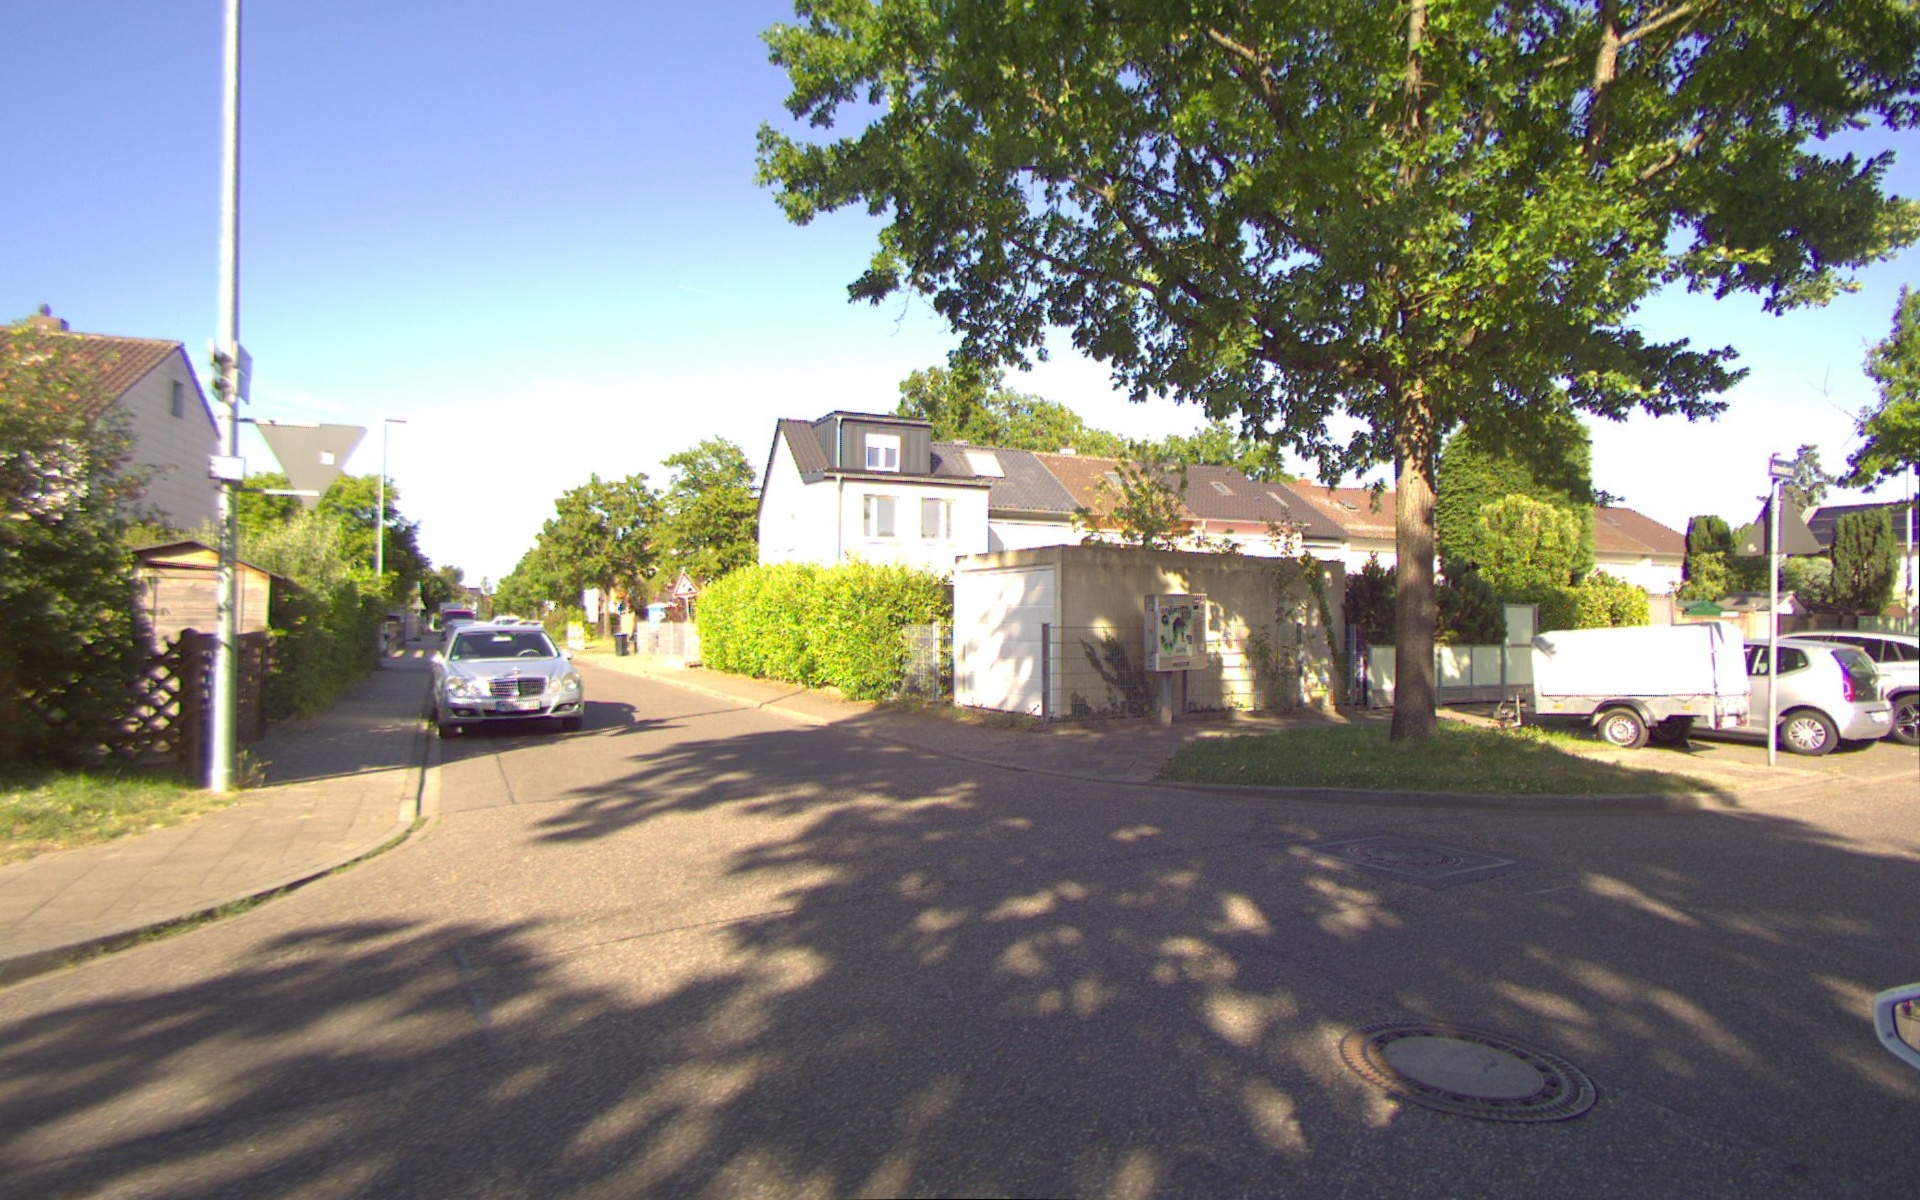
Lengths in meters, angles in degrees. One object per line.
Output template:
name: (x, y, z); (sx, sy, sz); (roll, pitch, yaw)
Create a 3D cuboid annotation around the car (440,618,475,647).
car: (-33.925, 2.160, 67.793); (1.975, 1.837, 4.195); (3, -3, -27)

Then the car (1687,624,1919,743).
car: (13.547, 1.211, 15.409); (1.835, 1.635, 3.524); (1, -1, -37)

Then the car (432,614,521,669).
car: (-14.435, 1.195, 29.876); (1.978, 1.505, 3.966); (2, -2, -32)

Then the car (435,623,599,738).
car: (-6.621, 1.045, 14.741); (1.899, 1.403, 4.330); (1, -1, -28)

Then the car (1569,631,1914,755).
car: (11.050, 1.217, 14.432); (1.788, 1.496, 3.531); (1, -2, -31)

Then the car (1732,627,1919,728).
car: (15.526, 1.276, 17.012); (1.835, 1.578, 3.525); (2, -2, -35)

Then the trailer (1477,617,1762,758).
trailer: (8.825, 1.089, 13.616); (1.382, 1.677, 2.948); (1, -2, -35)
